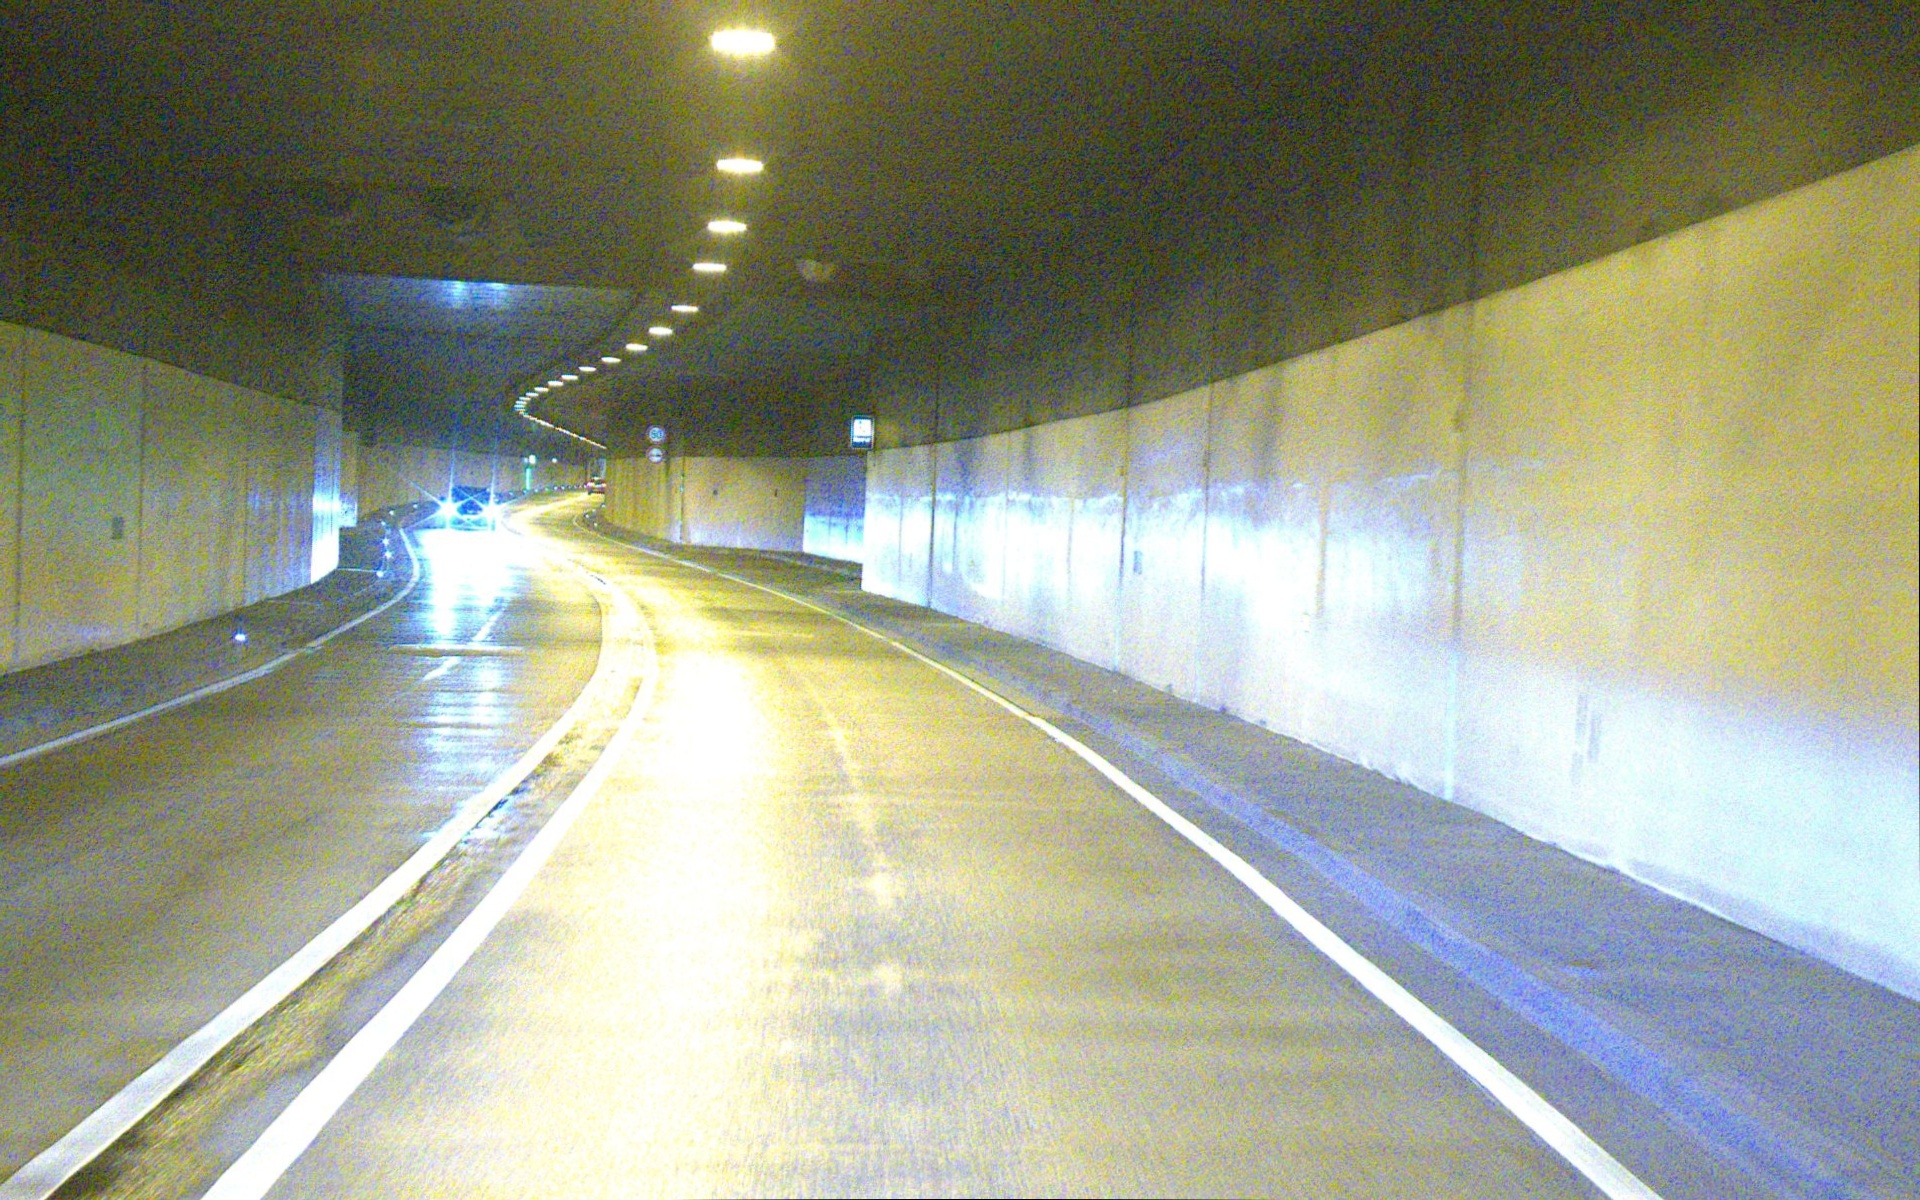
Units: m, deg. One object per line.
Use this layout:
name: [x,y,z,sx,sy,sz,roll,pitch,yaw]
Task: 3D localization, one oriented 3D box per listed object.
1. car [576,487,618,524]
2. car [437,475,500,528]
car: [-15.664,-4.071,148.194,1.595,1.450,3.622,2,0,-9]
car: [-16.493,-3.292,115.589,1.993,1.590,4.001,2,0,-7]
